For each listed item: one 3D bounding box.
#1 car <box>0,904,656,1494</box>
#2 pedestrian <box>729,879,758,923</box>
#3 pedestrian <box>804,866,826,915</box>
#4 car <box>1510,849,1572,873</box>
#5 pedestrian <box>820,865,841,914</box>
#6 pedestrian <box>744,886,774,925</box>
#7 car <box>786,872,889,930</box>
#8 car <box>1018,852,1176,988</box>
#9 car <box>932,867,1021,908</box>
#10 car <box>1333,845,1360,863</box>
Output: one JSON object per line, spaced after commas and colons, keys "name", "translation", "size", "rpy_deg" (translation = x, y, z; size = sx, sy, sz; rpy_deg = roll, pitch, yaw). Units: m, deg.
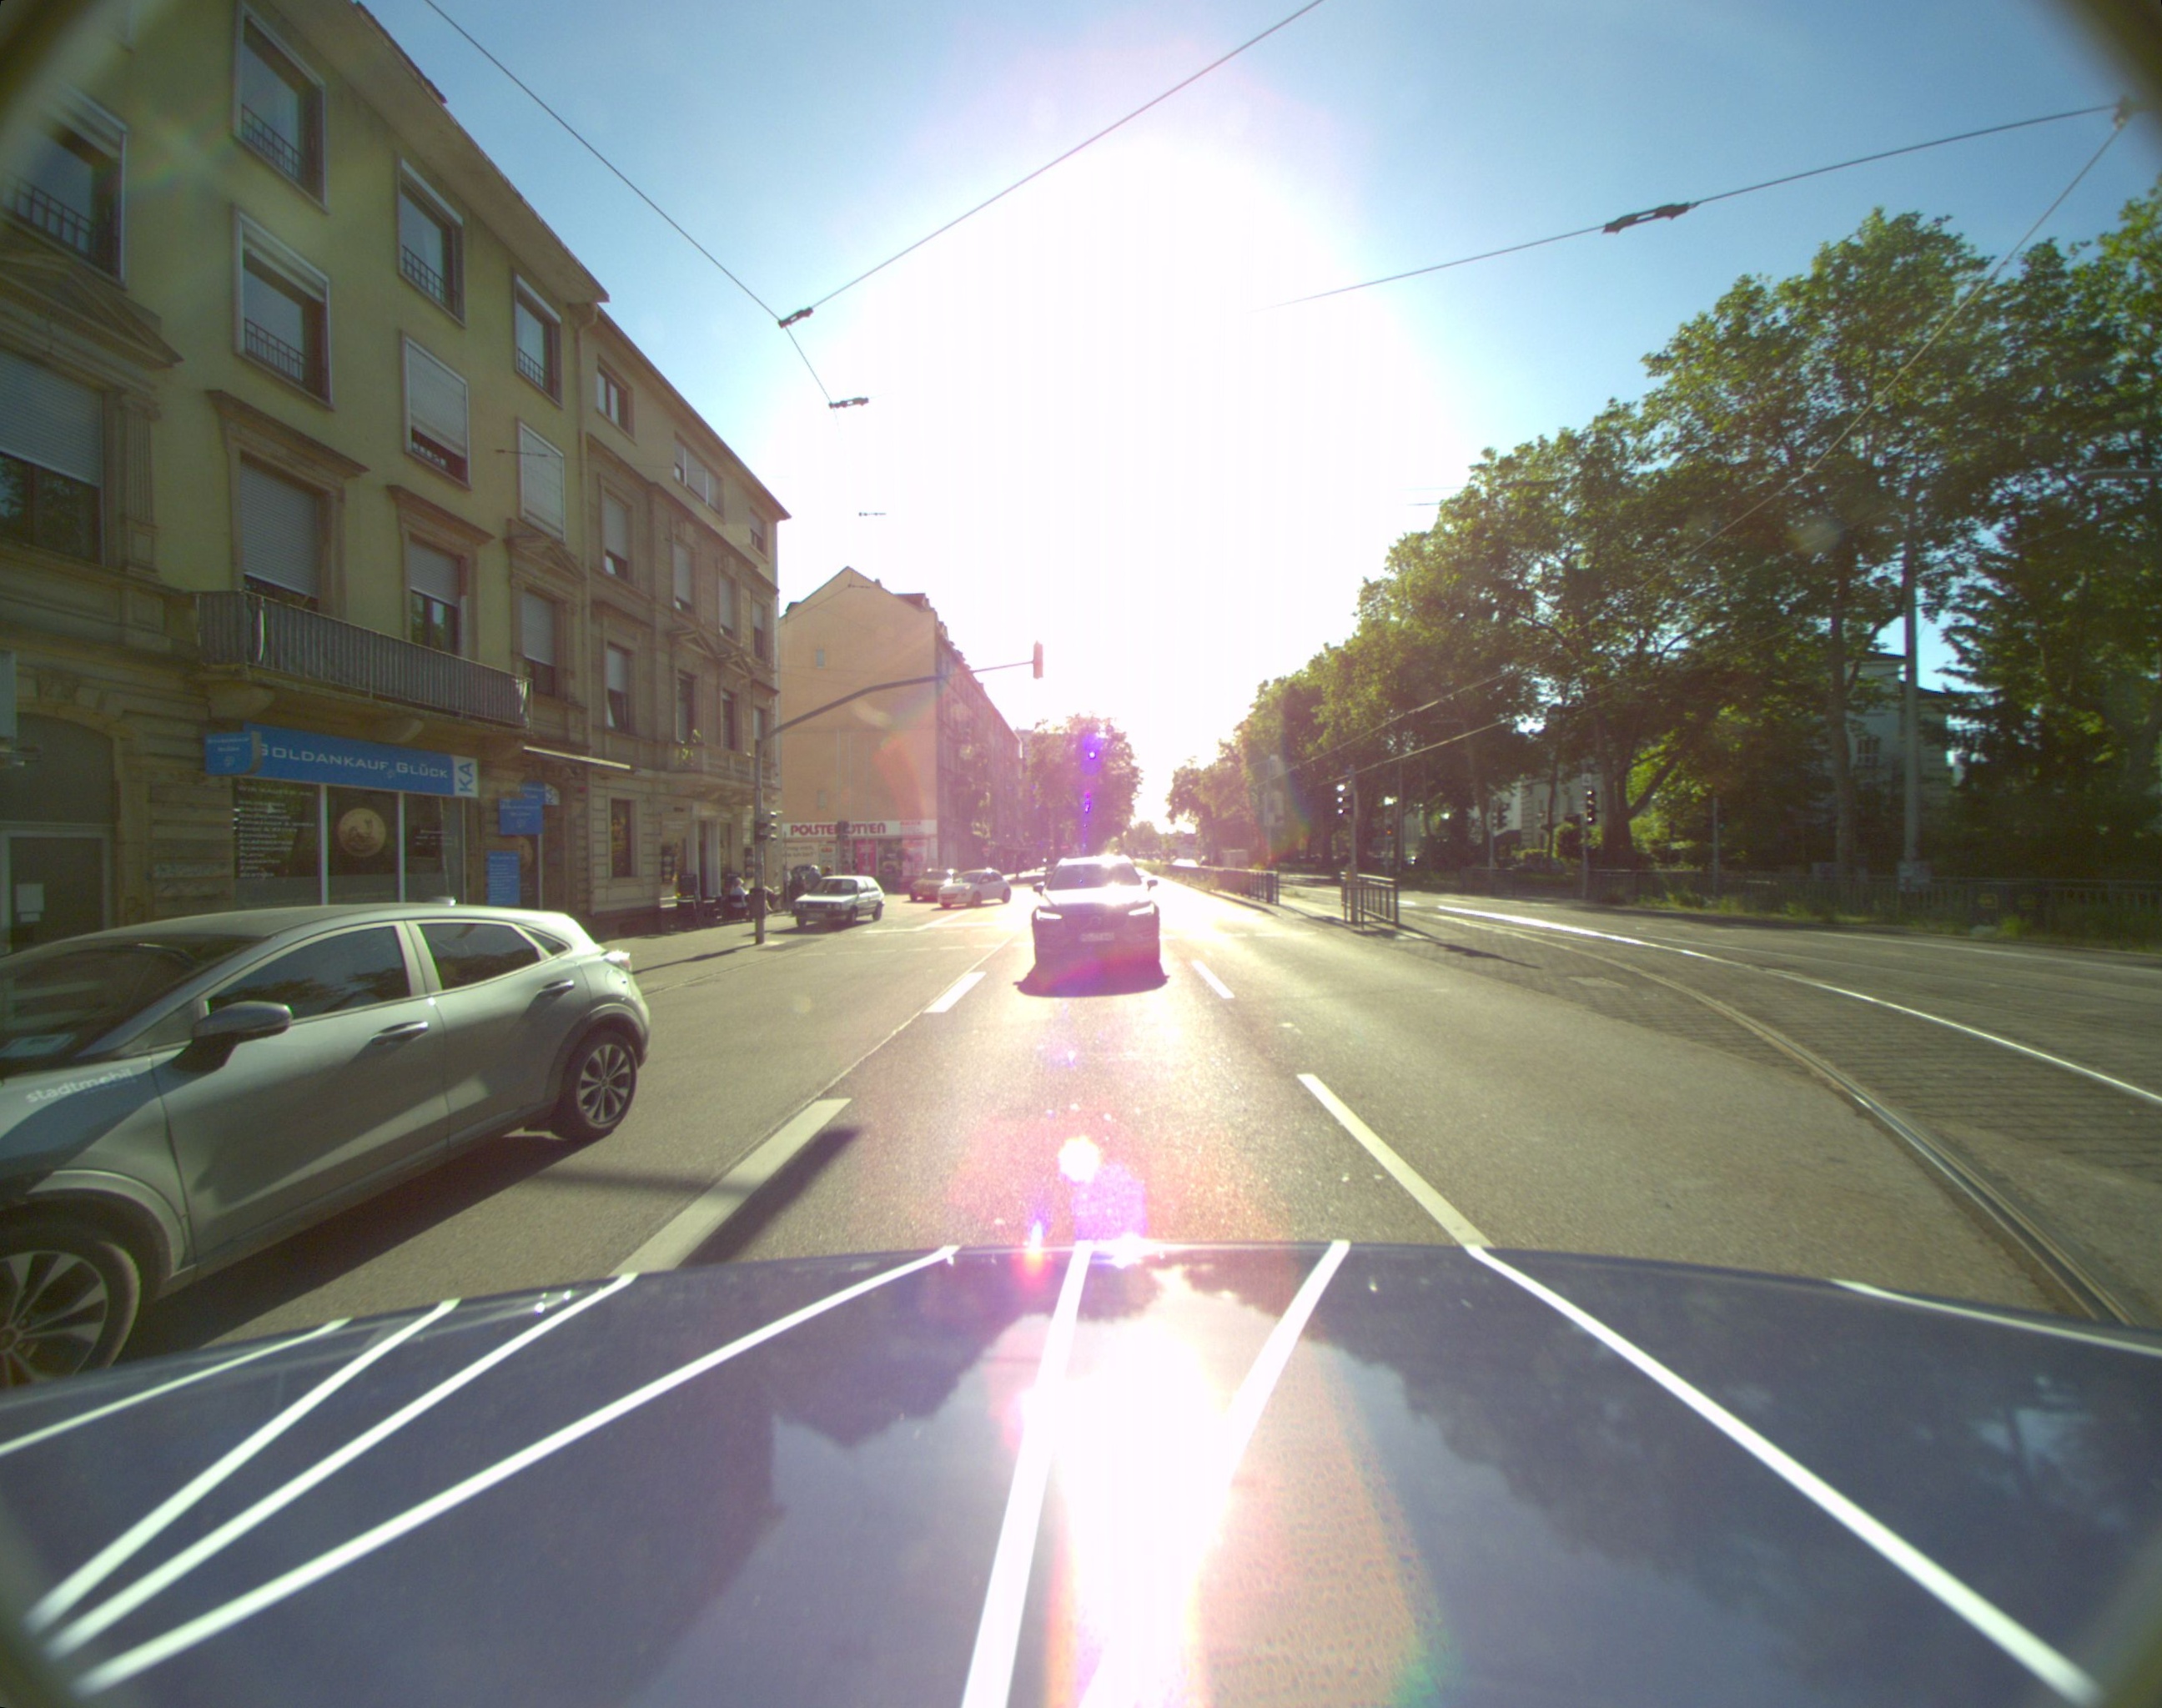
{"name": "car", "translation": [-3.857, 1.121, 3.200], "size": [1.659, 1.473, 3.973], "rpy_deg": [-4, 0, 3]}
{"name": "pedestrian", "translation": [-9.968, 1.387, 22.453], "size": [0.495, 1.252, 0.660], "rpy_deg": [-3, 0, 4]}
{"name": "pedestrian", "translation": [-9.748, 1.315, 27.822], "size": [0.495, 1.752, 0.660], "rpy_deg": [-2, 0, 2]}
{"name": "car", "translation": [30.189, 0.466, 50.023], "size": [1.722, 1.462, 3.757], "rpy_deg": [-4, 0, 0]}
{"name": "pedestrian", "translation": [-9.161, 1.274, 27.832], "size": [0.495, 1.752, 0.660], "rpy_deg": [-2, 0, 1]}
{"name": "pedestrian", "translation": [-10.008, 1.605, 23.654], "size": [0.658, 1.163, 0.496], "rpy_deg": [-2, 0, 16]}
{"name": "car", "translation": [-7.156, 1.327, 22.760], "size": [1.739, 1.510, 4.000], "rpy_deg": [0, 0, 1]}
{"name": "car", "translation": [0.243, 0.877, 11.946], "size": [1.969, 1.664, 4.000], "rpy_deg": [-4, 0, 1]}
{"name": "car", "translation": [-4.384, 1.399, 32.581], "size": [1.813, 1.442, 4.006], "rpy_deg": [-4, 0, 25]}
{"name": "car", "translation": [27.390, 0.054, 78.551], "size": [1.745, 1.782, 3.742], "rpy_deg": [-1, -1, 5]}
